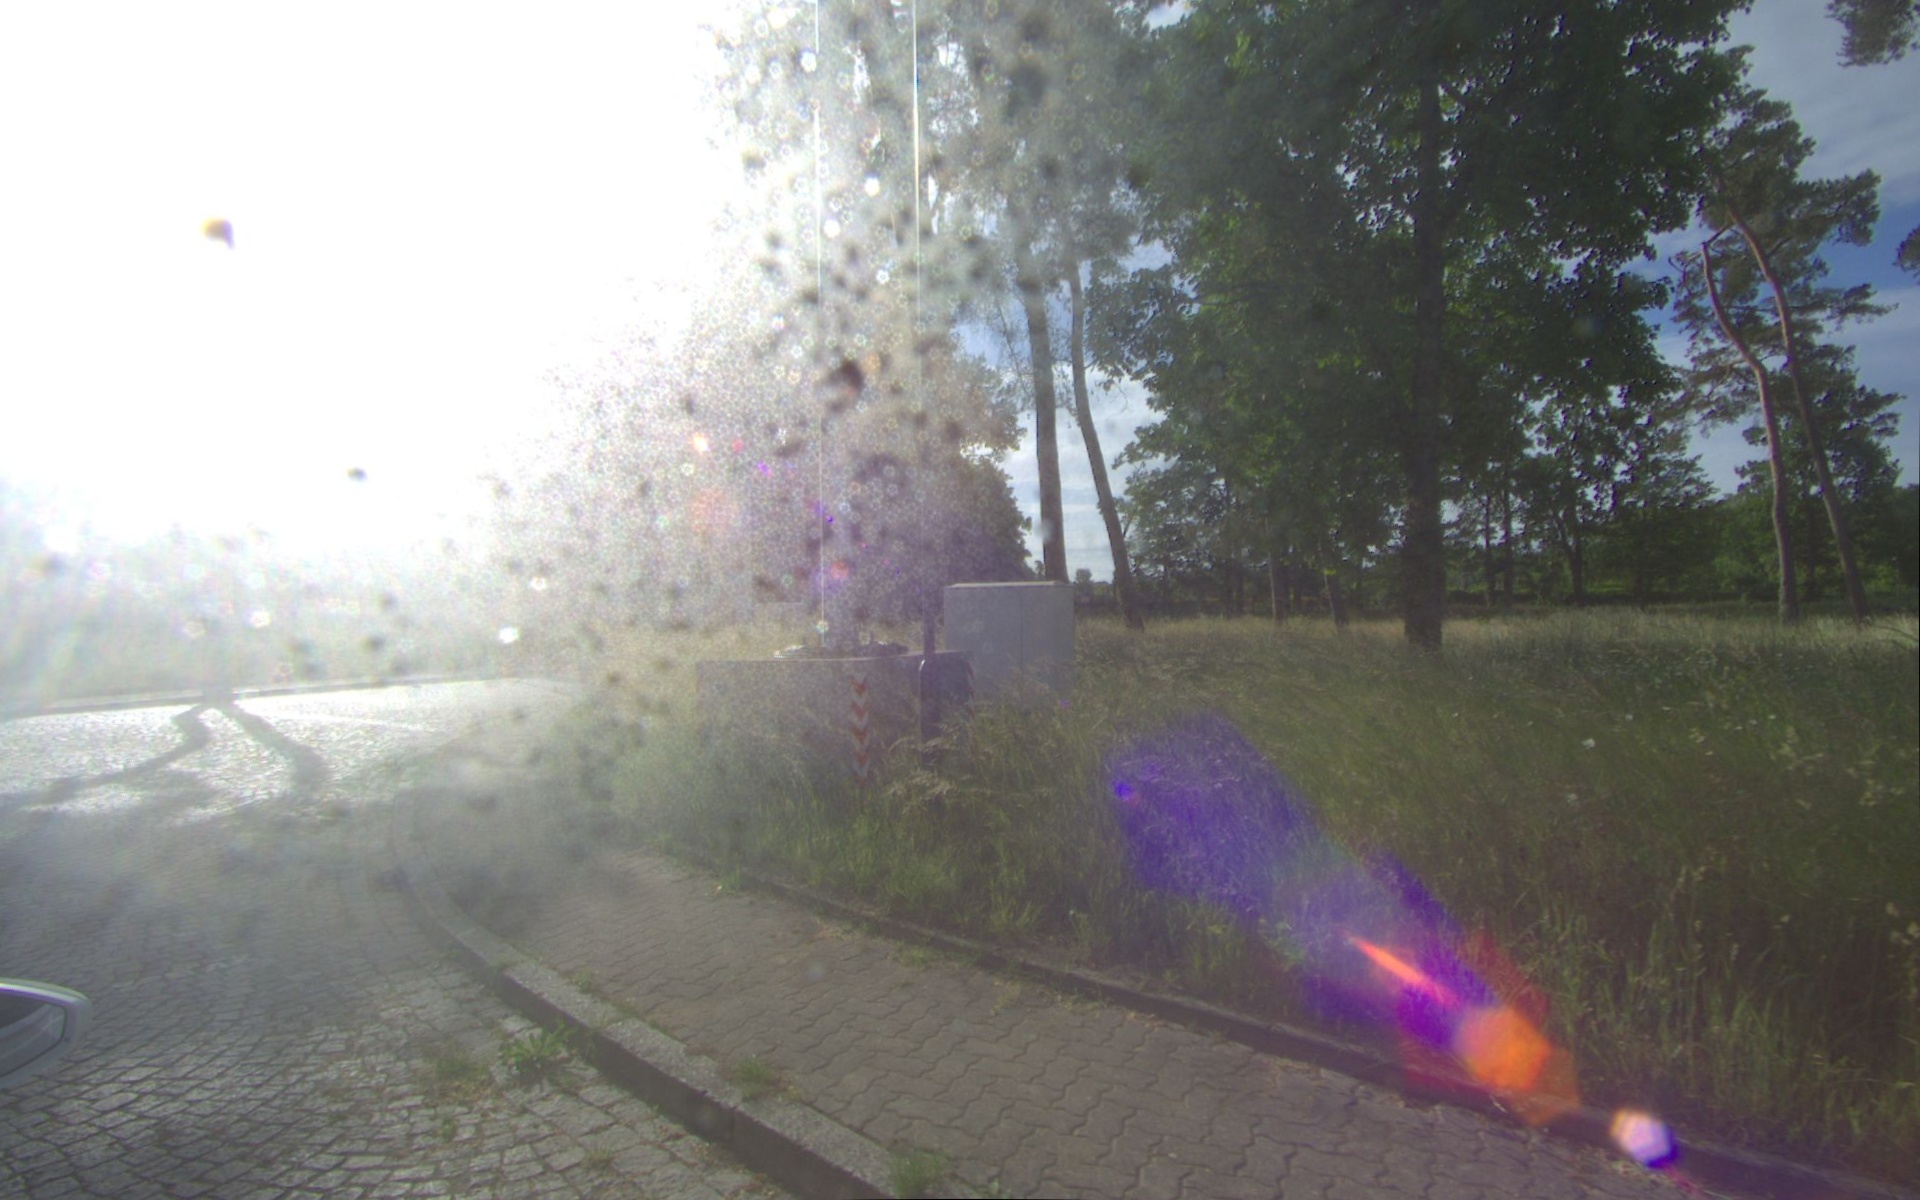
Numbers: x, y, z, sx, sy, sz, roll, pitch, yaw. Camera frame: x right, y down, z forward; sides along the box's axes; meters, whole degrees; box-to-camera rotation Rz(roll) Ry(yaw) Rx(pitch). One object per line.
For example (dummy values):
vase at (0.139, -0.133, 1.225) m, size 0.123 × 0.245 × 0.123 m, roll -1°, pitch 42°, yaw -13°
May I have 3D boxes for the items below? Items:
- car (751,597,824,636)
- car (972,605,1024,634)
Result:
car at (-11.844, 1.165, 69.247) m, size 2.230 × 2.568 × 5.154 m, roll -1°, pitch -1°, yaw 29°
car at (2.409, 1.215, 62.291) m, size 1.826 × 1.701 × 3.932 m, roll -1°, pitch -1°, yaw 25°
